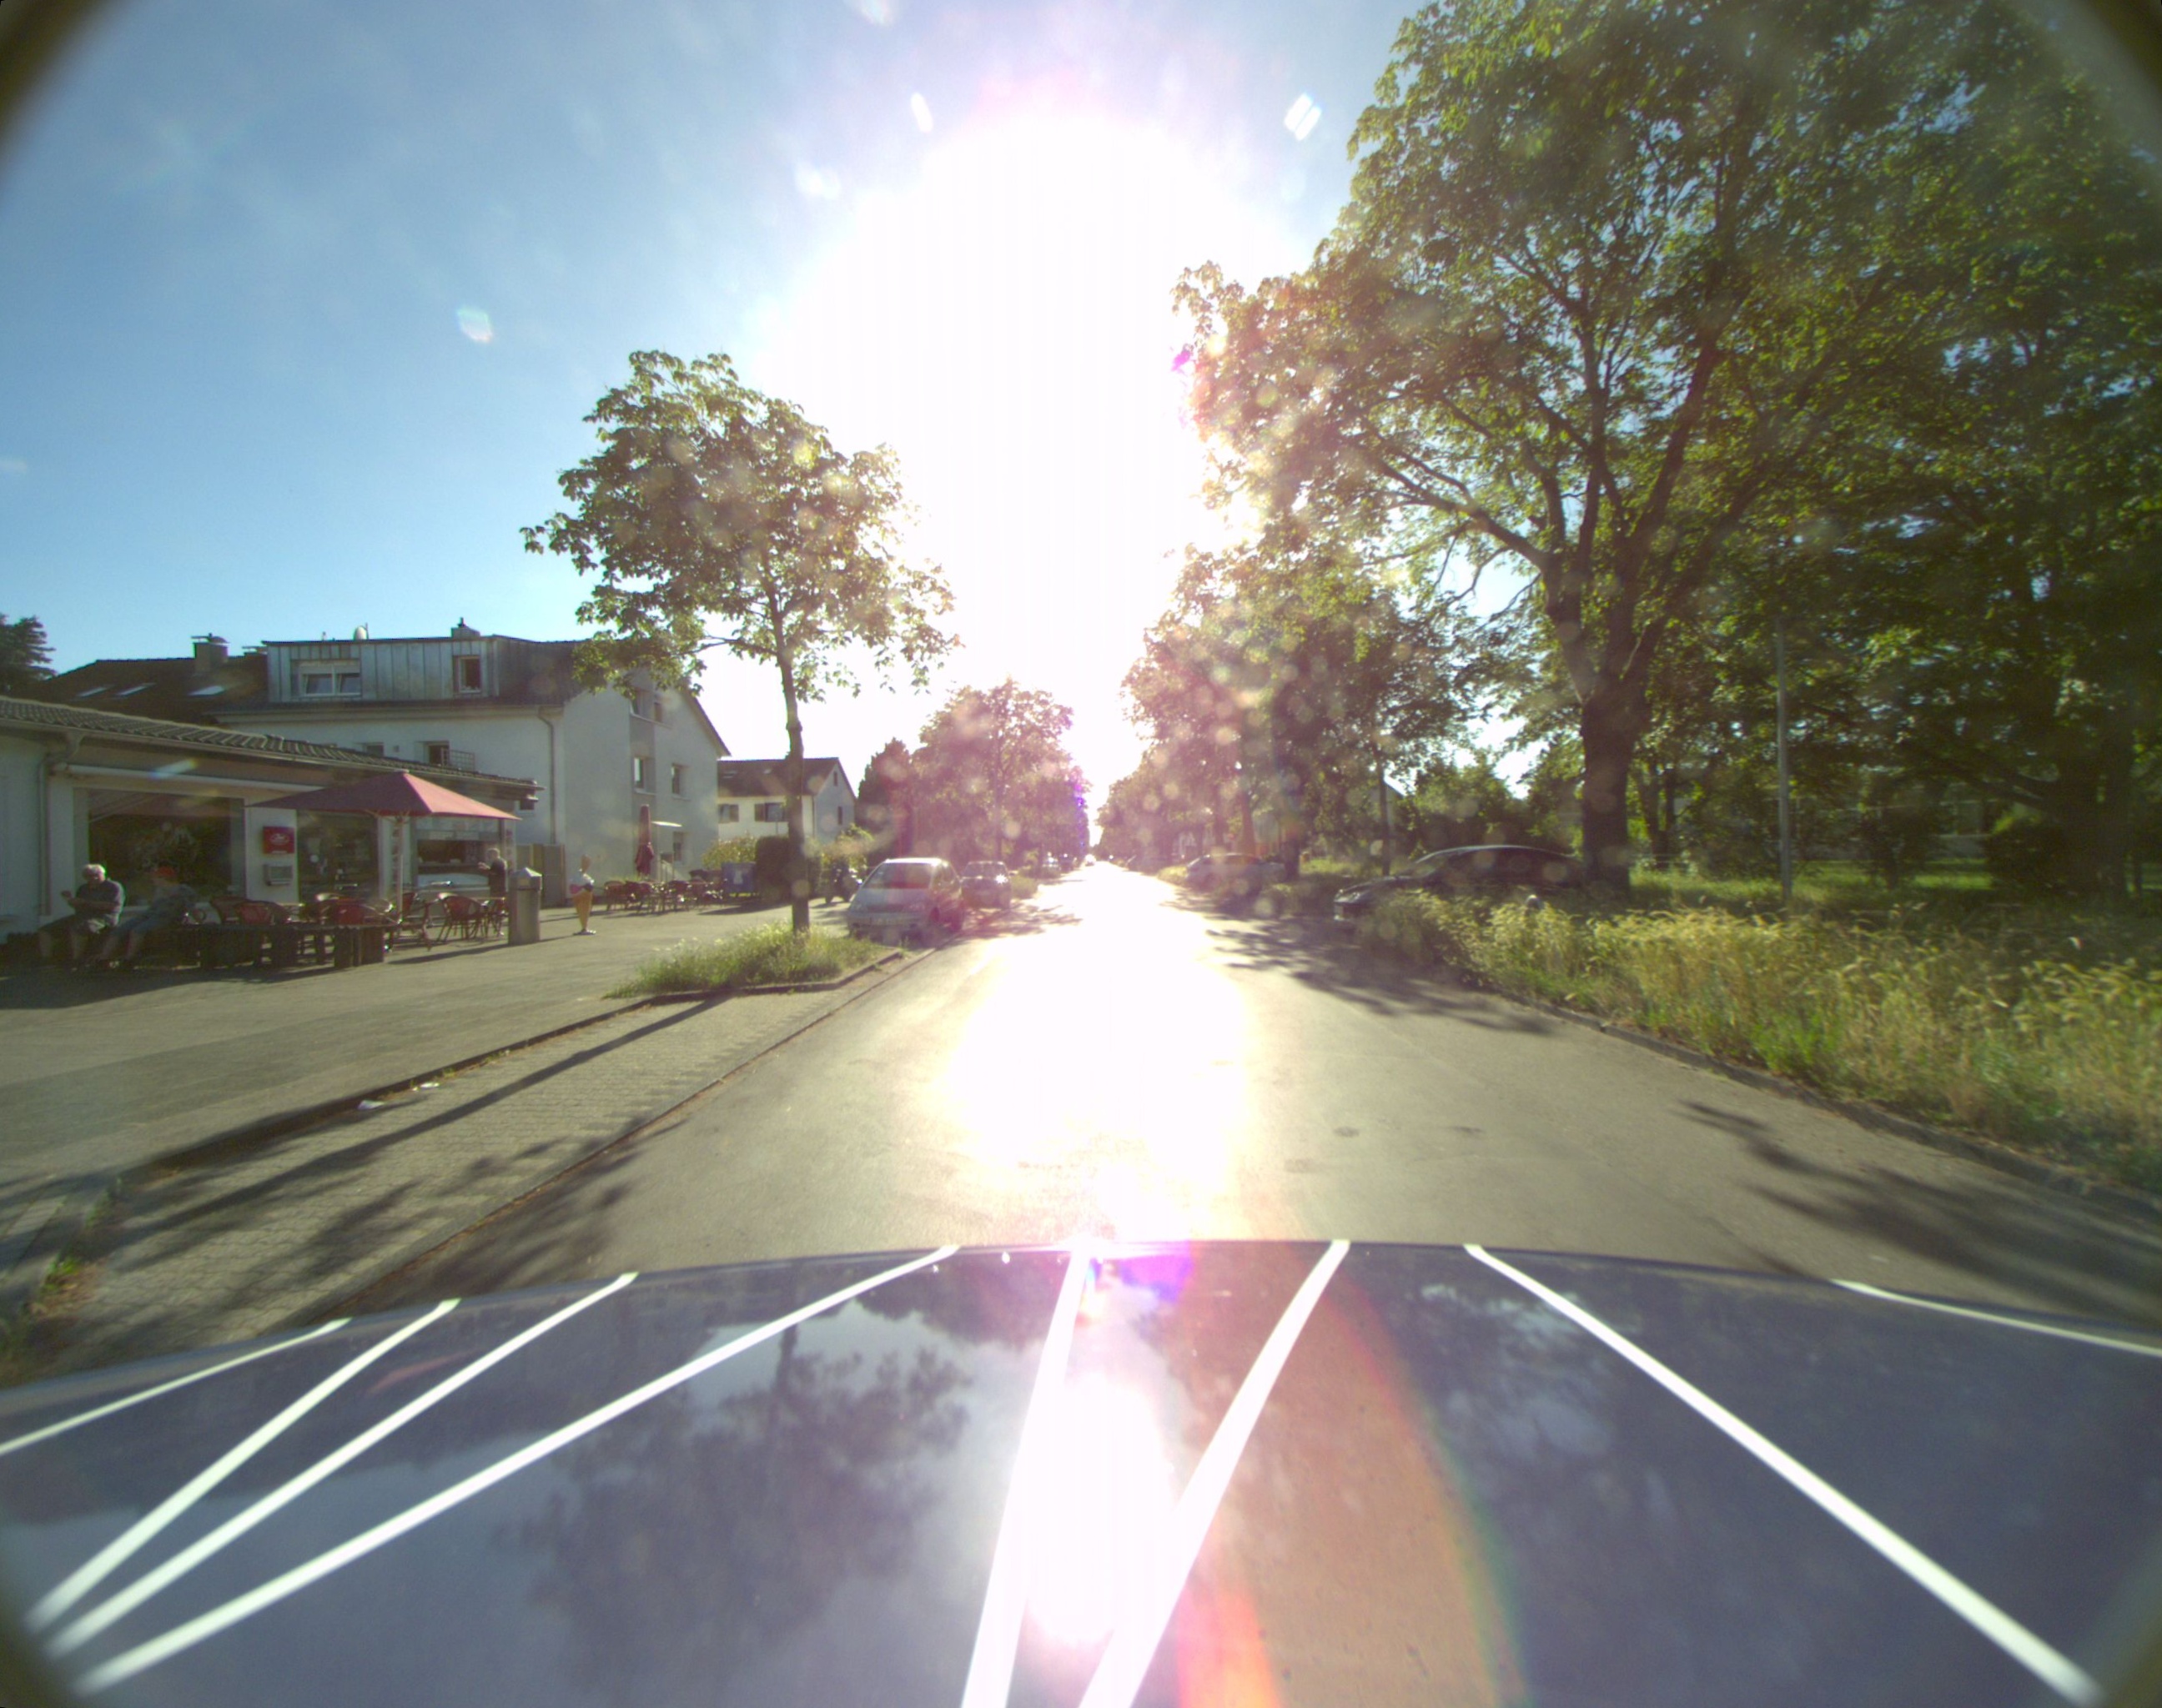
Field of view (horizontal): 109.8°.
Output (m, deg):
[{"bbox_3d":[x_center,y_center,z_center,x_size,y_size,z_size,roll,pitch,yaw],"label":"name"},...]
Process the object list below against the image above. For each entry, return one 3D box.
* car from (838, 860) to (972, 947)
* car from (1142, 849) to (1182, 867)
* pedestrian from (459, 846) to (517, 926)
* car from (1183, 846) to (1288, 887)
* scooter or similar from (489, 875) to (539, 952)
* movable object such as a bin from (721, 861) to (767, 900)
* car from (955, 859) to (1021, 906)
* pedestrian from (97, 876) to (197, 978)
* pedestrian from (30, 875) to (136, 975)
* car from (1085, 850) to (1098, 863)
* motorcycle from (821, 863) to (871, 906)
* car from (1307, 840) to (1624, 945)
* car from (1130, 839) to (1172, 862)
[{"bbox_3d":[-3.595,0.949,16.273,1.732,1.568,3.858,0,1,4],"label":"car"},{"bbox_3d":[8.512,0.407,79.842,3.997,1.740,1.890,-3,1,0],"label":"car"},{"bbox_3d":[-13.954,0.736,17.894,0.672,1.798,0.735,-3,1,1],"label":"pedestrian"},{"bbox_3d":[6.769,0.532,33.609,4.203,1.552,2.000,-3,1,2],"label":"car"},{"bbox_3d":[-9.810,1.012,13.159,0.503,1.288,0.461,0,1,-3],"label":"scooter or similar"},{"bbox_3d":[-11.666,0.908,26.322,1.172,1.286,0.928,0,1,0],"label":"movable object such as a bin"},{"bbox_3d":[-3.148,0.943,26.361,1.733,1.473,3.858,-1,0,1],"label":"car"},{"bbox_3d":[-12.735,0.981,10.377,0.641,1.314,0.574,2,1,1],"label":"pedestrian"},{"bbox_3d":[-13.639,0.956,10.399,0.641,1.315,0.574,0,1,1],"label":"pedestrian"},{"bbox_3d":[1.774,0.399,126.804,1.998,2.002,4.000,-3,1,2],"label":"car"},{"bbox_3d":[-7.730,0.975,25.144,0.838,1.247,2.345,-3,1,0],"label":"motorcycle"},{"bbox_3d":[6.664,0.640,13.598,4.615,1.552,2.000,-3,1,2],"label":"car"},{"bbox_3d":[8.789,-0.429,95.372,5.121,2.597,2.125,-2,1,4],"label":"car"}]
